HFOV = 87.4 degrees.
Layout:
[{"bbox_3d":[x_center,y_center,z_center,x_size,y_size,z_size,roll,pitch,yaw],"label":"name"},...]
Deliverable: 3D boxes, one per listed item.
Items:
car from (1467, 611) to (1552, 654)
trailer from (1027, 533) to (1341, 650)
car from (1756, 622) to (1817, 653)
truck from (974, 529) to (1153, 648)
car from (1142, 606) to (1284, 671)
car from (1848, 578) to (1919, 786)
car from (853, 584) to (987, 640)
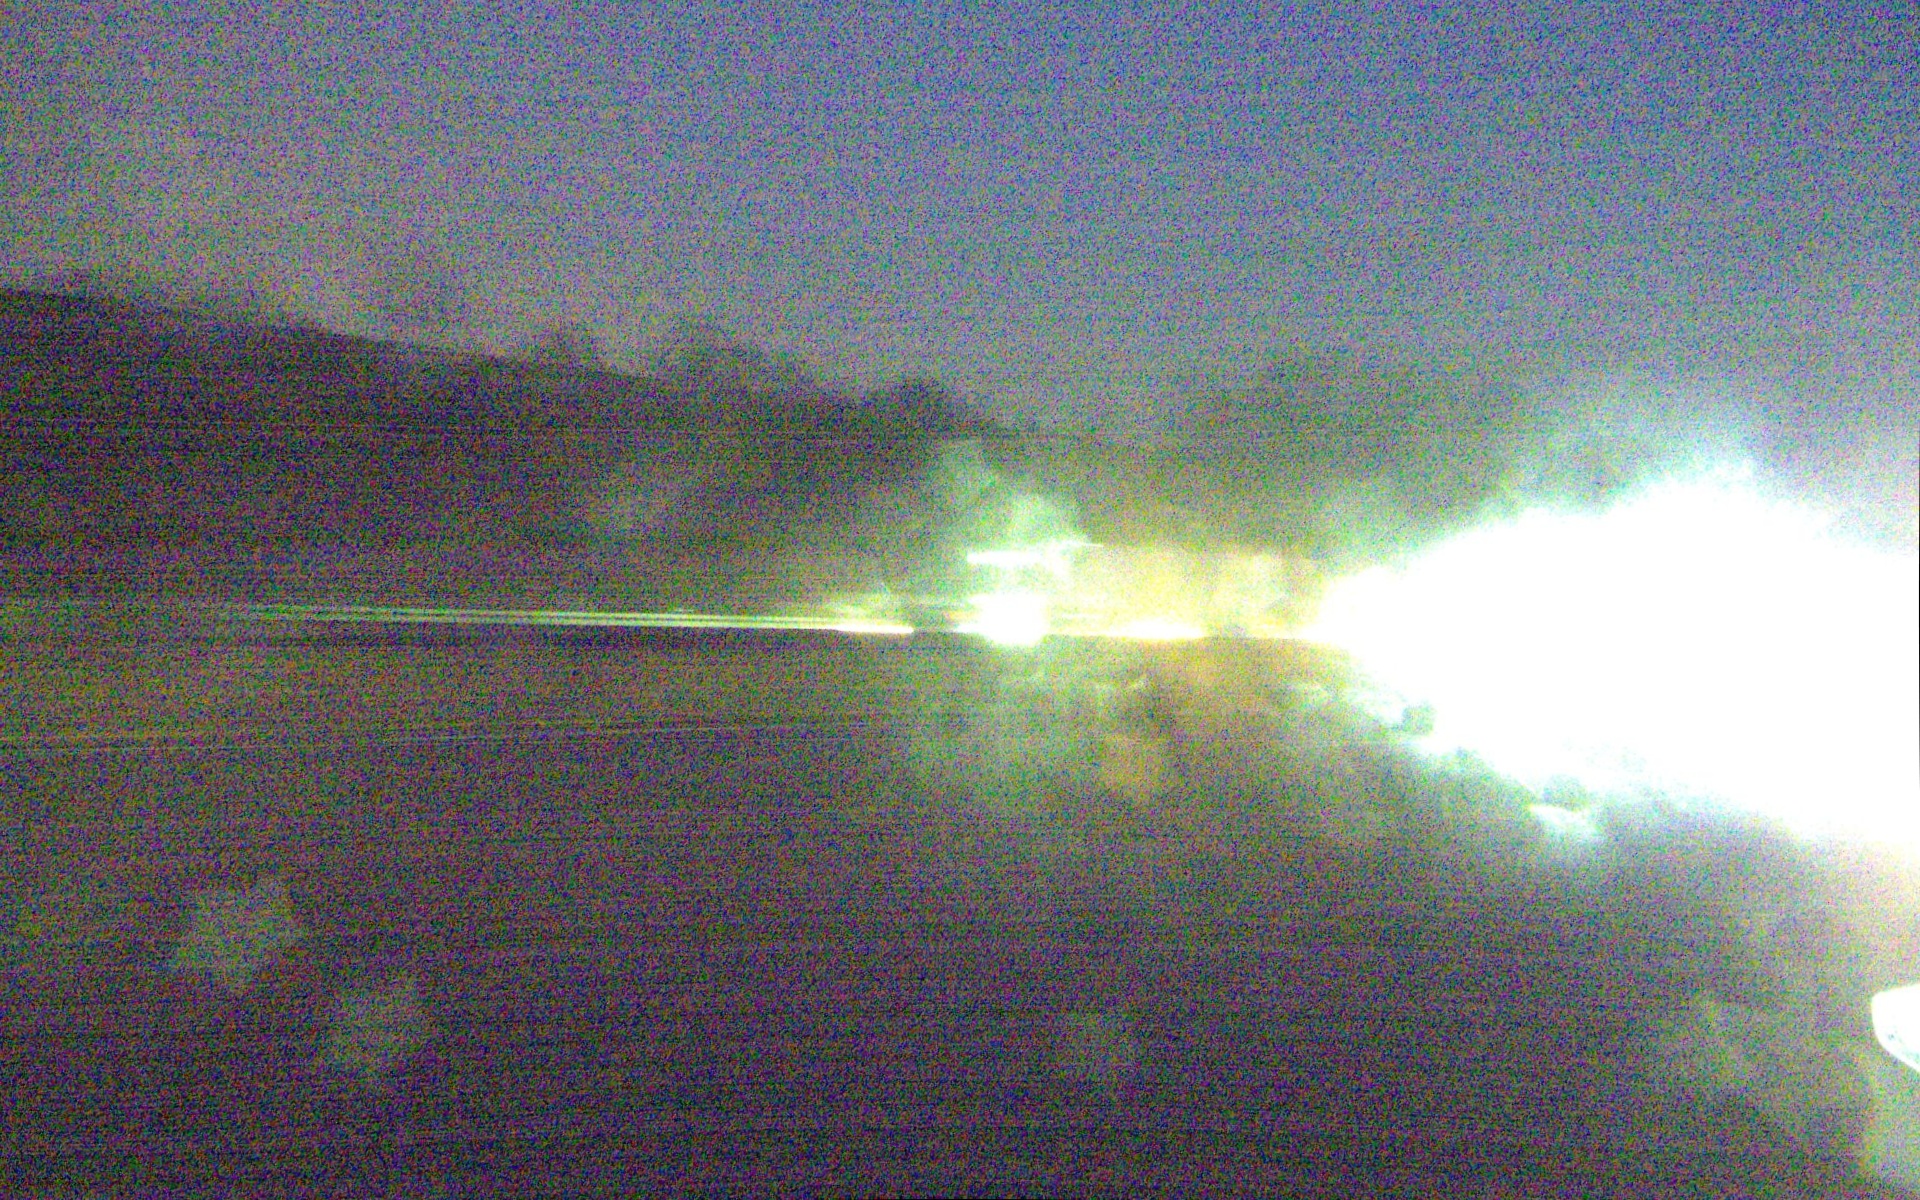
[{"bbox_3d":[29.349,1.751,53.599,4.356,2.041,1.983,2,2,-32],"label":"car"},{"bbox_3d":[9.662,-0.185,41.617,14.691,4.145,2.713,2,2,-31],"label":"trailer"},{"bbox_3d":[60.048,2.722,72.954,4.356,2.041,1.983,2,2,-32],"label":"car"},{"bbox_3d":[3.973,-0.415,38.171,6.196,4.145,2.714,2,2,-31],"label":"truck"},{"bbox_3d":[7.864,1.206,31.143,3.954,1.781,1.983,2,2,-31],"label":"car"},{"bbox_3d":[11.776,0.888,10.776,4.960,2.040,1.983,2,-1,-31],"label":"car"},{"bbox_3d":[-1.194,0.374,30.446,3.662,1.510,1.653,2,2,-31],"label":"car"}]
